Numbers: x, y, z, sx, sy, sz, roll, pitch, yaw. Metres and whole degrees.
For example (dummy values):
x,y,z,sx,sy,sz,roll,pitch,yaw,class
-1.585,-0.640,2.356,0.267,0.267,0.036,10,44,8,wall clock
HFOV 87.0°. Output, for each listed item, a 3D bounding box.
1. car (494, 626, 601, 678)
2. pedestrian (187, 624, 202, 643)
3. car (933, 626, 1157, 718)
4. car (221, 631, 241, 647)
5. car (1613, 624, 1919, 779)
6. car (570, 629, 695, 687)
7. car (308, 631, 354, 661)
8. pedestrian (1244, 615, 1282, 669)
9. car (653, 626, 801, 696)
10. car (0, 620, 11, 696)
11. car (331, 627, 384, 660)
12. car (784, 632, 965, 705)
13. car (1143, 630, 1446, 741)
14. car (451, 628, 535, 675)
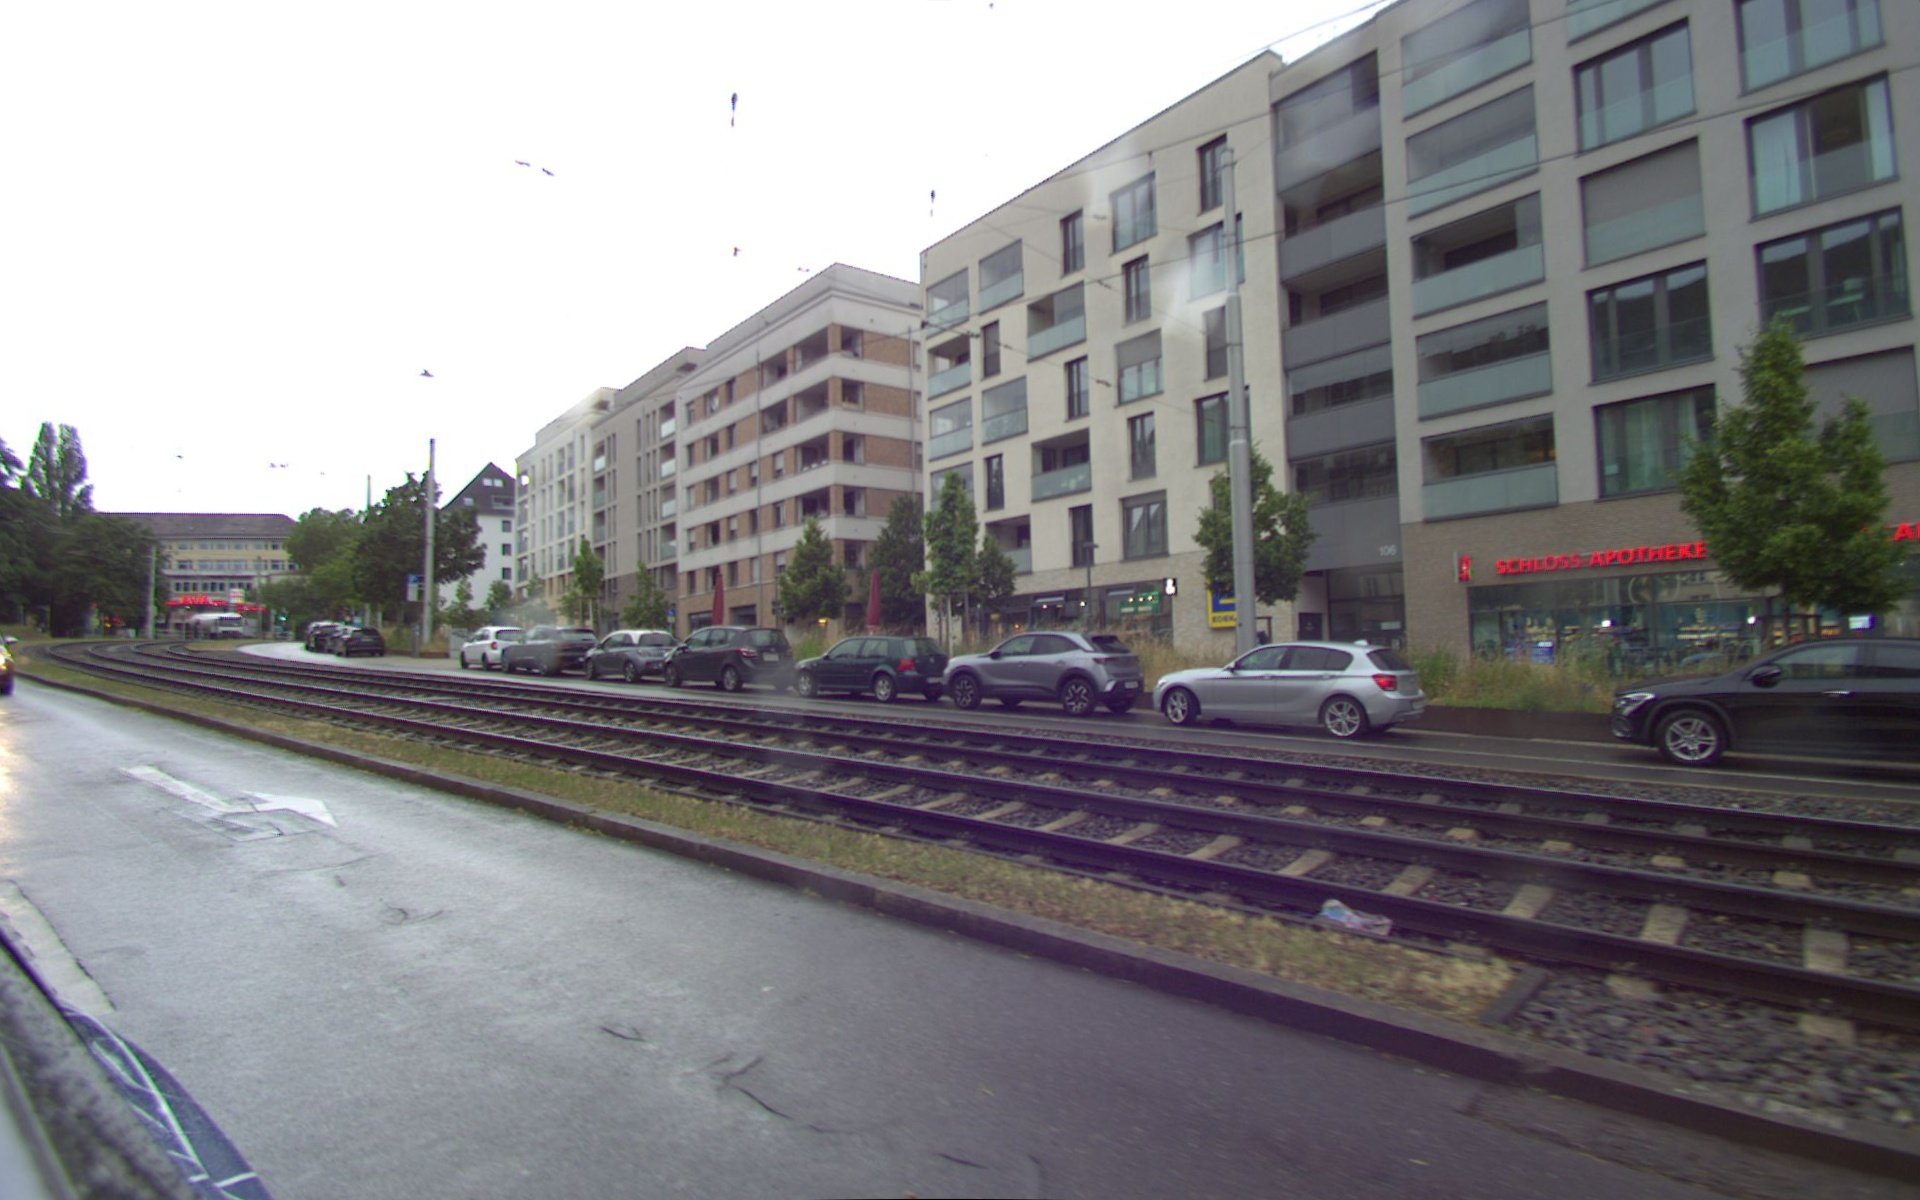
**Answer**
x,y,z,sx,sy,sz,roll,pitch,yaw,class
-13.316,1.611,32.531,1.660,1.516,4.408,0,-1,-44,car
-73.519,3.237,97.195,0.805,1.777,0.750,2,-4,-9,pedestrian
1.574,1.297,19.455,4.042,1.541,1.665,-1,-1,37,car
-82.852,4.424,115.058,1.641,1.619,3.818,-1,1,-34,car
10.365,1.123,11.915,4.327,1.616,1.663,-1,-1,41,car
-9.502,1.621,29.253,3.926,1.516,1.663,-1,-1,41,car
-35.051,2.549,56.381,1.630,1.475,3.676,-1,1,-40,car
8.590,1.180,28.699,0.647,1.460,0.805,-1,0,-36,pedestrian
-5.954,1.481,25.609,3.926,1.575,1.663,-1,-1,41,car
-20.438,1.157,20.343,3.668,1.475,1.573,-1,1,41,car
-29.839,2.118,50.073,1.630,1.475,3.676,-1,1,-40,car
-1.962,1.451,22.419,4.030,1.391,1.663,-1,-1,41,car
5.253,1.264,16.238,4.327,1.475,1.663,-1,-1,41,car
-16.716,1.809,36.123,1.626,1.516,3.784,0,-1,-43,car
